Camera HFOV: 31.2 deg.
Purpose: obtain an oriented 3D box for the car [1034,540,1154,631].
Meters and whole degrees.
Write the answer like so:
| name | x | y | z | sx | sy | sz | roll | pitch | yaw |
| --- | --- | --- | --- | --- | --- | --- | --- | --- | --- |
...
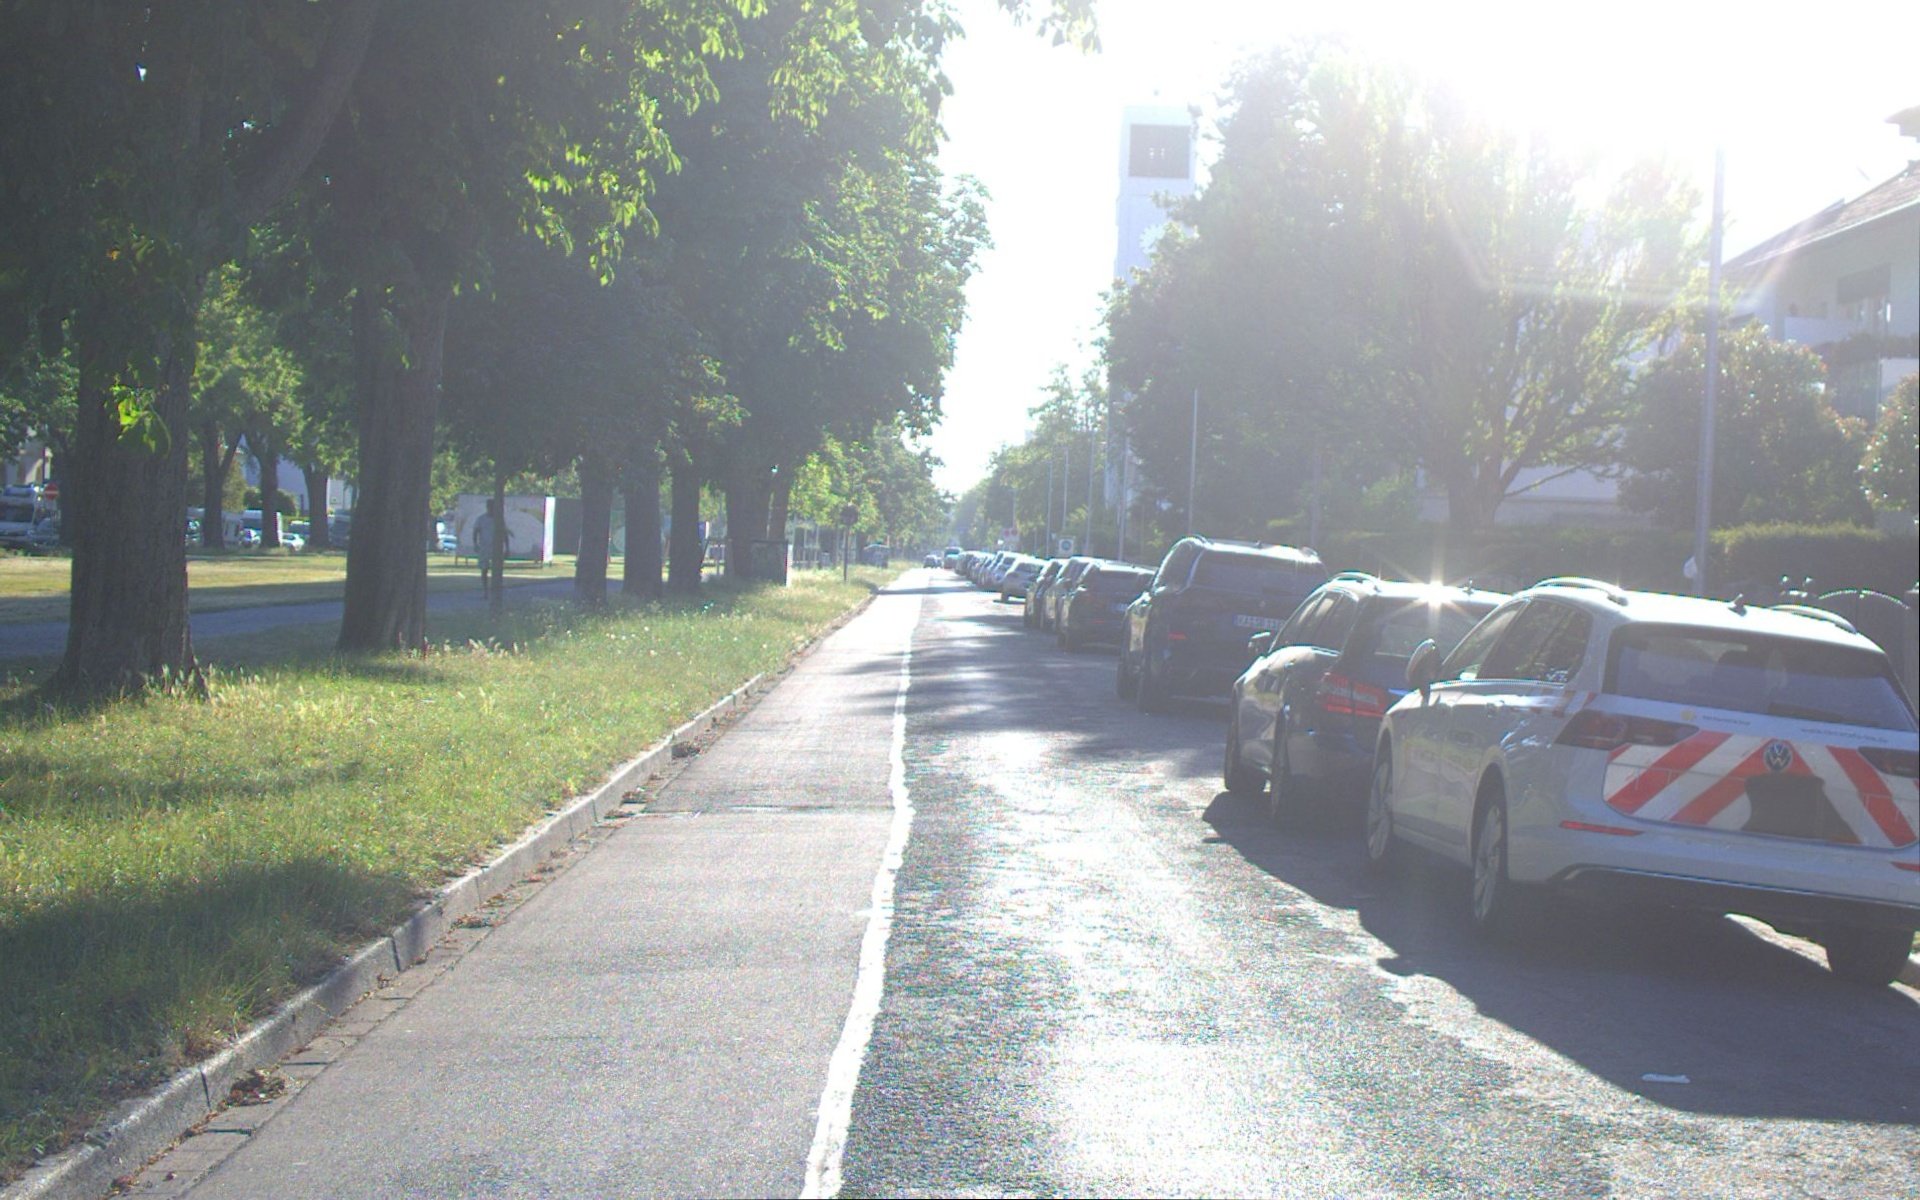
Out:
| name | x | y | z | sx | sy | sz | roll | pitch | yaw |
| --- | --- | --- | --- | --- | --- | --- | --- | --- | --- |
| car | 2.504 | -0.294 | 65.084 | 1.691 | 1.478 | 3.930 | 6 | 1 | -4 |

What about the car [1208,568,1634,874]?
| name | x | y | z | sx | sy | sz | roll | pitch | yaw |
| --- | --- | --- | --- | --- | --- | --- | --- | --- | --- |
| car | 2.650 | 0.633 | 20.816 | 1.780 | 1.458 | 4.594 | 5 | 1 | -1 |

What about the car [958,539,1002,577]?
| name | x | y | z | sx | sy | sz | roll | pitch | yaw |
| --- | --- | --- | --- | --- | --- | --- | --- | --- | --- |
| car | 0.866 | -1.869 | 151.231 | 1.758 | 1.599 | 4.359 | 2 | 1 | -2 |

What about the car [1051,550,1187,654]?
| name | x | y | z | sx | sy | sz | roll | pitch | yaw |
| --- | --- | --- | --- | --- | --- | --- | --- | --- | --- |
| car | 2.475 | 0.007 | 54.529 | 1.793 | 1.487 | 4.675 | 3 | 0 | -1 |

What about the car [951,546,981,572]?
| name | x | y | z | sx | sy | sz | roll | pitch | yaw |
| --- | --- | --- | --- | --- | --- | --- | --- | --- | --- |
| car | 0.422 | -2.802 | 232.495 | 1.980 | 1.677 | 4.000 | 2 | 1 | 1 |

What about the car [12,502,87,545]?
| name | x | y | z | sx | sy | sz | roll | pitch | yaw |
| --- | --- | --- | --- | --- | --- | --- | --- | --- | --- |
| car | -35.484 | -2.968 | 134.033 | 1.685 | 1.554 | 4.314 | 2 | 1 | 0 |

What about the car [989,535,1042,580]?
| name | x | y | z | sx | sy | sz | roll | pitch | yaw |
| --- | --- | --- | --- | --- | --- | --- | --- | --- | --- |
| car | 2.080 | -1.620 | 130.616 | 1.758 | 1.599 | 4.359 | 2 | 1 | -2 |

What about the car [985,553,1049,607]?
| name | x | y | z | sx | sy | sz | roll | pitch | yaw |
| --- | --- | --- | --- | --- | --- | --- | --- | --- | --- |
| car | 1.747 | -0.631 | 107.287 | 1.757 | 1.415 | 4.072 | 8 | 1 | 0 |

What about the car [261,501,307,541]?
| name | x | y | z | sx | sy | sz | roll | pitch | yaw |
| --- | --- | --- | --- | --- | --- | --- | --- | --- | --- |
| car | -41.715 | -4.853 | 212.159 | 1.993 | 2.401 | 4.363 | 0 | 0 | 0 |

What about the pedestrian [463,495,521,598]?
| name | x | y | z | sx | sy | sz | roll | pitch | yaw |
| --- | --- | --- | --- | --- | --- | --- | --- | --- | --- |
| pedestrian | -8.214 | -0.944 | 60.368 | 0.724 | 1.752 | 0.993 | 2 | 1 | 6 |

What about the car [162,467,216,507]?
| name | x | y | z | sx | sy | sz | roll | pitch | yaw |
| --- | --- | --- | --- | --- | --- | --- | --- | --- | --- |
| car | -42.161 | -6.188 | 187.994 | 1.993 | 2.007 | 4.485 | 0 | -1 | -1 |

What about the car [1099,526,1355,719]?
| name | x | y | z | sx | sy | sz | roll | pitch | yaw |
| --- | --- | --- | --- | --- | --- | --- | --- | --- | --- |
| car | 2.616 | 0.168 | 34.845 | 1.993 | 1.731 | 4.864 | 2 | 1 | -2 |

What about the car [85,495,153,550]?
| name | x | y | z | sx | sy | sz | roll | pitch | yaw |
| --- | --- | --- | --- | --- | --- | --- | --- | --- | --- |
| car | -35.326 | -3.255 | 144.454 | 1.685 | 2.168 | 4.314 | 3 | 1 | 0 |

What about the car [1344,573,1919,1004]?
| name | x | y | z | sx | sy | sz | roll | pitch | yaw |
| --- | --- | --- | --- | --- | --- | --- | --- | --- | --- |
| car | 3.052 | 0.708 | 15.185 | 1.993 | 1.459 | 4.550 | 5 | 1 | -1 |

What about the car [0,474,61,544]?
| name | x | y | z | sx | sy | sz | roll | pitch | yaw |
| --- | --- | --- | --- | --- | --- | --- | --- | --- | --- |
| car | -41.222 | -3.946 | 150.211 | 2.437 | 2.912 | 5.818 | 0 | 0 | 0 |
